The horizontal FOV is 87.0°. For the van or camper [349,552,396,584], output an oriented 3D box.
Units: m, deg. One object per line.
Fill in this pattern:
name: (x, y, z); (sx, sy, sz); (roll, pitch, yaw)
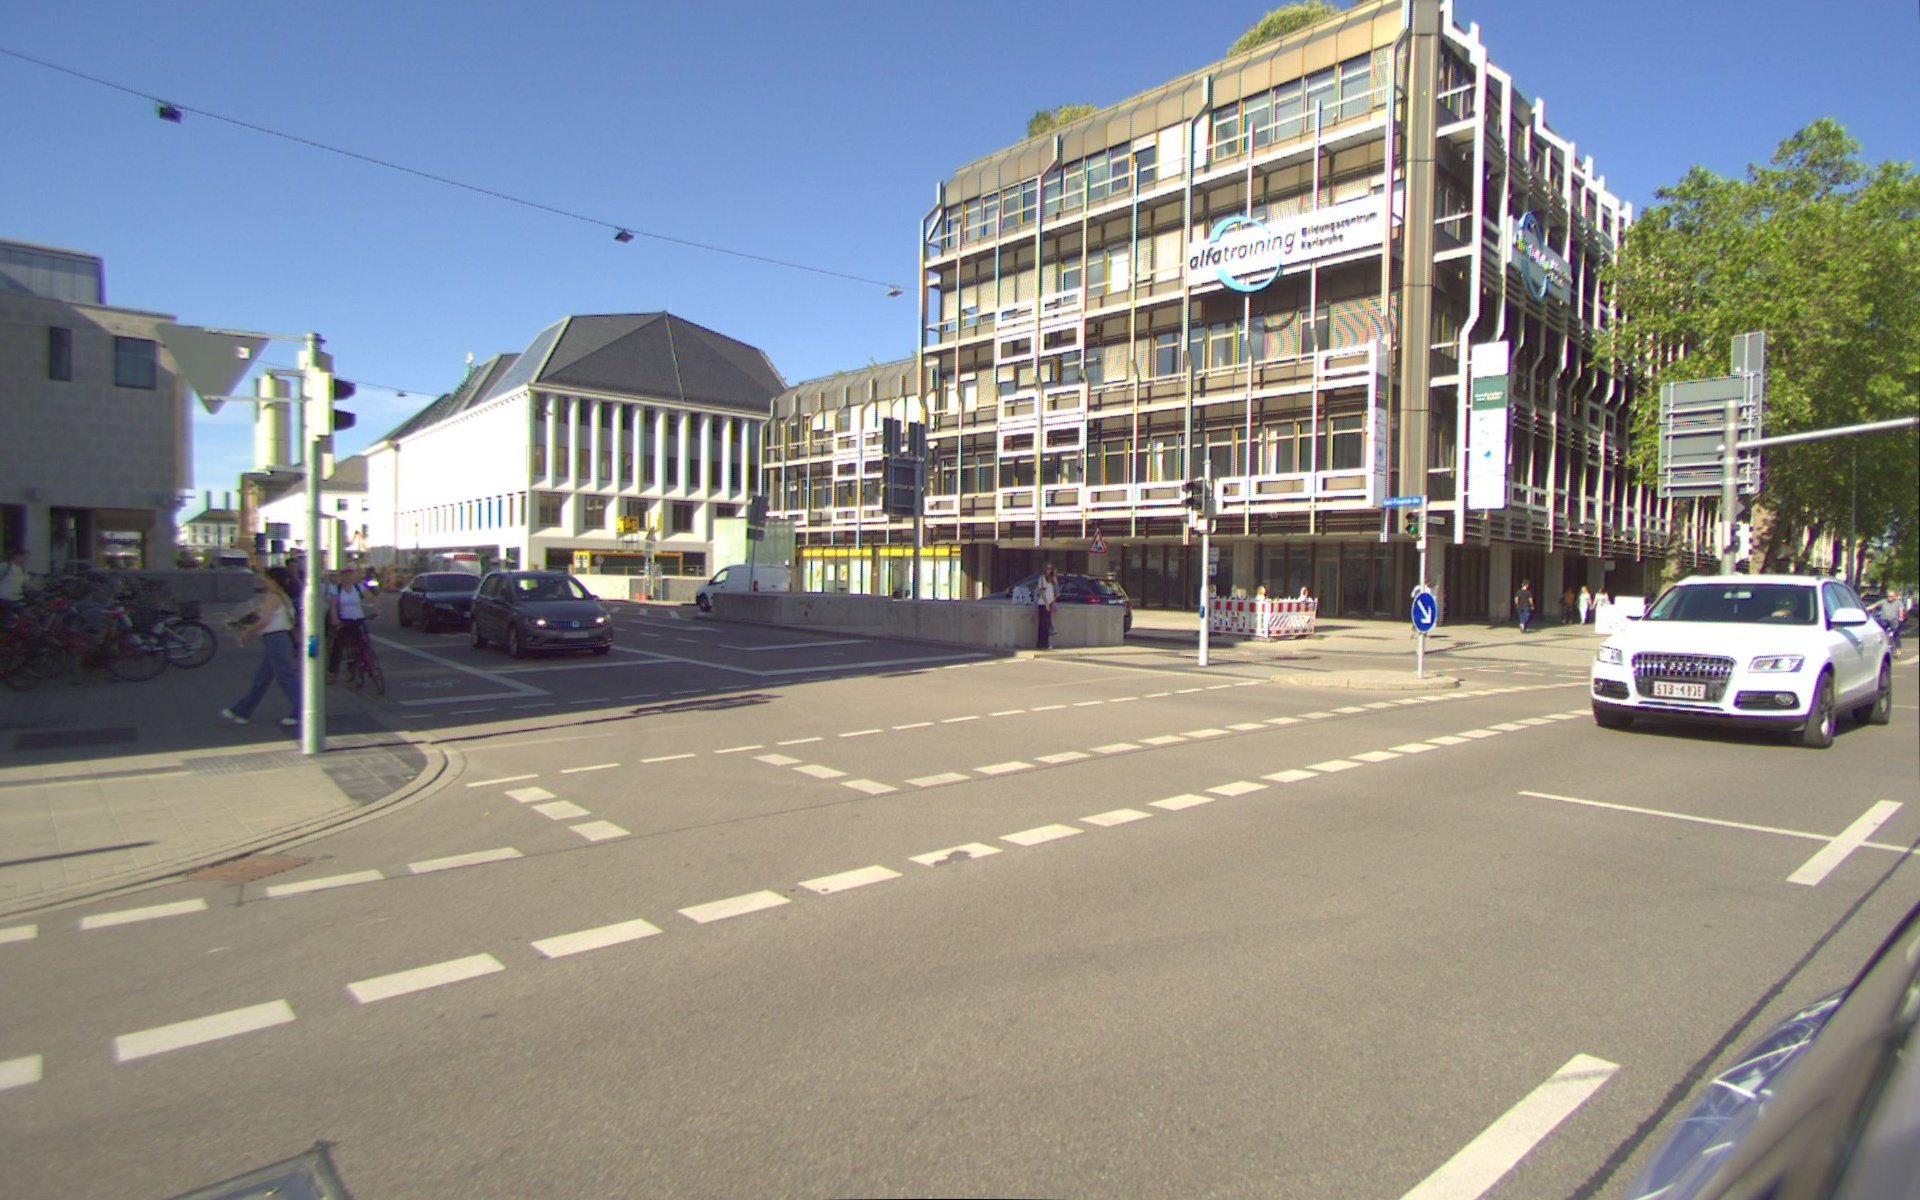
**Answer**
van or camper: (-48.528, -2.663, 83.511); (2.283, 2.545, 6.419); (0, 2, -40)

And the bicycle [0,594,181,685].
bicycle: (-12.164, 0.499, 13.334); (2.940, 1.107, 1.067); (-1, 1, -42)

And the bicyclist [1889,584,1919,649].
bicyclist: (25.285, 0.425, 26.981); (0.709, 1.709, 0.839); (-2, -1, 45)

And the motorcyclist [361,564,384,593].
motorcyclist: (-28.845, -1.045, 49.670); (0.782, 1.400, 1.081); (-1, 2, -41)

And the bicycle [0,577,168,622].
bicycle: (-23.314, -0.036, 26.949); (3.437, 1.107, 1.068); (-1, 1, -42)

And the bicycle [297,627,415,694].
bicycle: (-8.149, 0.777, 13.603); (1.053, 0.679, 2.198); (-1, 2, -40)

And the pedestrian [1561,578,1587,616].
pedestrian: (26.564, -0.131, 43.781); (0.992, 1.620, 0.667); (0, 3, -43)

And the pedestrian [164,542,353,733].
pedestrian: (-7.354, 0.333, 10.627); (1.498, 1.823, 0.968); (-1, 3, -44)

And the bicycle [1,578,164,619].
bicycle: (-24.830, -0.074, 28.738); (3.437, 1.107, 1.068); (-1, 1, -42)

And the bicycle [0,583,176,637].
bicycle: (-19.171, 0.184, 21.903); (3.437, 1.107, 1.068); (-1, 1, -42)

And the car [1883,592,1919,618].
car: (62.303, 0.300, 66.810); (4.265, 1.573, 1.750); (0, 3, -44)

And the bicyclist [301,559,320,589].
bicyclist: (-37.046, -1.489, 57.725); (0.782, 1.691, 0.954); (-1, 1, -41)

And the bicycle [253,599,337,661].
bicycle: (-11.739, 0.496, 17.828); (1.012, 0.944, 2.198); (0, 2, -40)

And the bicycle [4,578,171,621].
bicycle: (-23.991, -0.046, 27.929); (3.437, 1.107, 1.068); (-1, 1, -42)

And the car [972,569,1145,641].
car: (2.457, 0.075, 26.099); (1.760, 1.720, 4.402); (0, 1, -43)

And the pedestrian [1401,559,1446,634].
pedestrian: (12.882, -0.118, 28.140); (0.944, 2.039, 1.066); (1, 1, 35)

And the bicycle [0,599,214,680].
bicycle: (-13.472, 0.568, 15.313); (3.438, 1.107, 1.067); (-1, 2, -42)

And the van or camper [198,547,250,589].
van or camper: (-46.743, -2.013, 64.187); (2.140, 2.545, 6.418); (0, 2, -41)

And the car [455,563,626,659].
car: (-8.245, 0.110, 19.689); (1.829, 1.632, 4.193); (-3, 3, -41)

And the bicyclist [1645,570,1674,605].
bicyclist: (30.735, -0.559, 44.453); (0.869, 1.495, 0.882); (0, 1, -44)

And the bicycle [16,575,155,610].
bicycle: (-28.960, -0.254, 33.605); (3.437, 1.107, 1.068); (-1, 1, -42)

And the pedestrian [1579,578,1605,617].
pedestrian: (26.999, -0.126, 43.213); (0.715, 1.620, 0.668); (0, 3, -40)

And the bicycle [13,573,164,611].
bicycle: (-26.565, -0.251, 30.948); (3.437, 1.107, 1.068); (-1, 1, -42)

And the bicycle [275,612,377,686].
bicycle: (-9.761, 0.711, 15.534); (1.053, 0.955, 2.198); (0, 2, -40)

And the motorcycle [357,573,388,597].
motorcycle: (-28.843, -0.740, 49.664); (0.782, 1.112, 2.959); (-1, 2, -41)

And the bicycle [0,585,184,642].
bicycle: (-18.339, 0.242, 21.060); (3.437, 1.107, 1.068); (-1, 1, -42)

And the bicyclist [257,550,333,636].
bicyclist: (-11.695, -0.134, 17.788); (1.022, 1.451, 0.935); (0, 1, -40)

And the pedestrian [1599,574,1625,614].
pedestrian: (27.320, -0.244, 42.398); (0.715, 1.620, 0.667); (0, 3, -43)

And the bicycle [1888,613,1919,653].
bicycle: (25.262, 0.853, 26.961); (0.709, 1.006, 1.893); (-2, -1, 45)

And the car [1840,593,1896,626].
car: (45.274, 0.423, 50.431); (4.485, 1.508, 1.750); (0, 3, -44)

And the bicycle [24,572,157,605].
bicycle: (-29.923, -0.411, 34.910); (3.437, 1.107, 1.068); (-1, 1, -42)

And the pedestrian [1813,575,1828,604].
pedestrian: (61.376, -0.729, 72.194); (0.616, 2.039, 0.739); (0, 0, -45)

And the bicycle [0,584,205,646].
bicycle: (-16.672, 0.257, 19.430); (3.437, 1.107, 1.068); (-1, 1, -42)

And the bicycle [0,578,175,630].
bicycle: (-19.909, 0.070, 22.835); (3.437, 1.107, 1.068); (-1, 1, -42)

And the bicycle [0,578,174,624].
bicycle: (-22.500, -0.001, 26.143); (3.437, 1.107, 1.068); (-1, 1, -42)

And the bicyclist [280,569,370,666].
bicyclist: (-9.726, 0.243, 15.501); (1.057, 1.413, 0.935); (0, 1, -40)

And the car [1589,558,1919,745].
car: (8.642, 0.425, 10.872); (4.331, 1.634, 1.824); (0, 1, -38)

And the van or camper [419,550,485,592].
van or camper: (-32.033, -1.845, 63.744); (2.283, 2.545, 6.419); (0, 2, -40)

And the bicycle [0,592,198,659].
bicycle: (-15.788, 0.425, 18.069); (3.437, 1.107, 1.068); (-1, 1, -42)

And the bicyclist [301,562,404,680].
bicyclist: (-8.178, 0.250, 13.618); (1.053, 1.494, 1.024); (0, 1, -40)

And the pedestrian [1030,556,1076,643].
pedestrian: (1.792, -0.018, 19.551); (0.658, 1.632, 0.520); (4, 3, 38)

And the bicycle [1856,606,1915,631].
bicycle: (40.381, 0.787, 44.178); (1.843, 0.972, 0.701); (4, 3, 42)

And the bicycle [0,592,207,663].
bicycle: (-15.004, 0.430, 17.239); (3.437, 1.107, 1.068); (-1, 1, -42)

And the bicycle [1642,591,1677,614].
bicycle: (30.763, 0.100, 44.503); (2.017, 0.997, 0.882); (0, 1, -44)

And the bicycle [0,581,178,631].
bicycle: (-20.593, 0.104, 23.788); (3.437, 1.107, 1.068); (-1, 1, -42)

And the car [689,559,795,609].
car: (-8.097, -0.593, 37.418); (4.147, 1.755, 1.763); (1, 1, 42)

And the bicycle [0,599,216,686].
bicycle: (-12.758, 0.575, 14.381); (3.438, 1.107, 1.067); (-1, 2, -42)

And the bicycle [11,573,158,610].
bicycle: (-27.442, -0.286, 31.816); (3.437, 1.107, 1.068); (-1, 1, -42)

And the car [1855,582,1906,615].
car: (50.132, -0.091, 55.101); (4.265, 1.653, 1.750); (0, 3, -44)

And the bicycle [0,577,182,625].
bicycle: (-21.685, -0.005, 25.335); (3.437, 1.107, 1.068); (-1, 1, -42)

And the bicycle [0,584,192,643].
bicycle: (-17.540, 0.239, 20.215); (3.437, 1.107, 1.068); (-1, 1, -42)

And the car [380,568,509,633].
car: (-13.095, -0.063, 25.563); (1.829, 1.438, 4.613); (-3, 4, -41)

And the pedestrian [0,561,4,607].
pedestrian: (-36.123, -0.609, 37.992); (0.289, 1.705, 0.338); (0, 1, -34)

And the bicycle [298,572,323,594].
bicycle: (-37.022, -0.970, 57.700); (0.782, 1.229, 2.959); (-1, 2, -41)

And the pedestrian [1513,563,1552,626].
pedestrian: (18.984, -0.191, 33.549); (0.945, 2.039, 1.064); (1, 1, 39)

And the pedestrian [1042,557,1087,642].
pedestrian: (2.077, -0.021, 20.137); (0.658, 1.632, 0.520); (4, 3, 38)

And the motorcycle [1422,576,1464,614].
motorcycle: (19.277, -0.214, 40.357); (2.087, 1.459, 0.824); (-1, 1, -44)

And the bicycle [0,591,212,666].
bicycle: (-14.258, 0.427, 16.343); (3.438, 1.107, 1.067); (-1, 2, -42)

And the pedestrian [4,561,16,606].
pedestrian: (-35.879, -0.619, 38.222); (0.289, 1.705, 0.338); (0, 1, -34)

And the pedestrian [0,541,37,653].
pedestrian: (-16.819, -0.055, 17.754); (0.630, 1.931, 0.735); (1, 1, 24)
